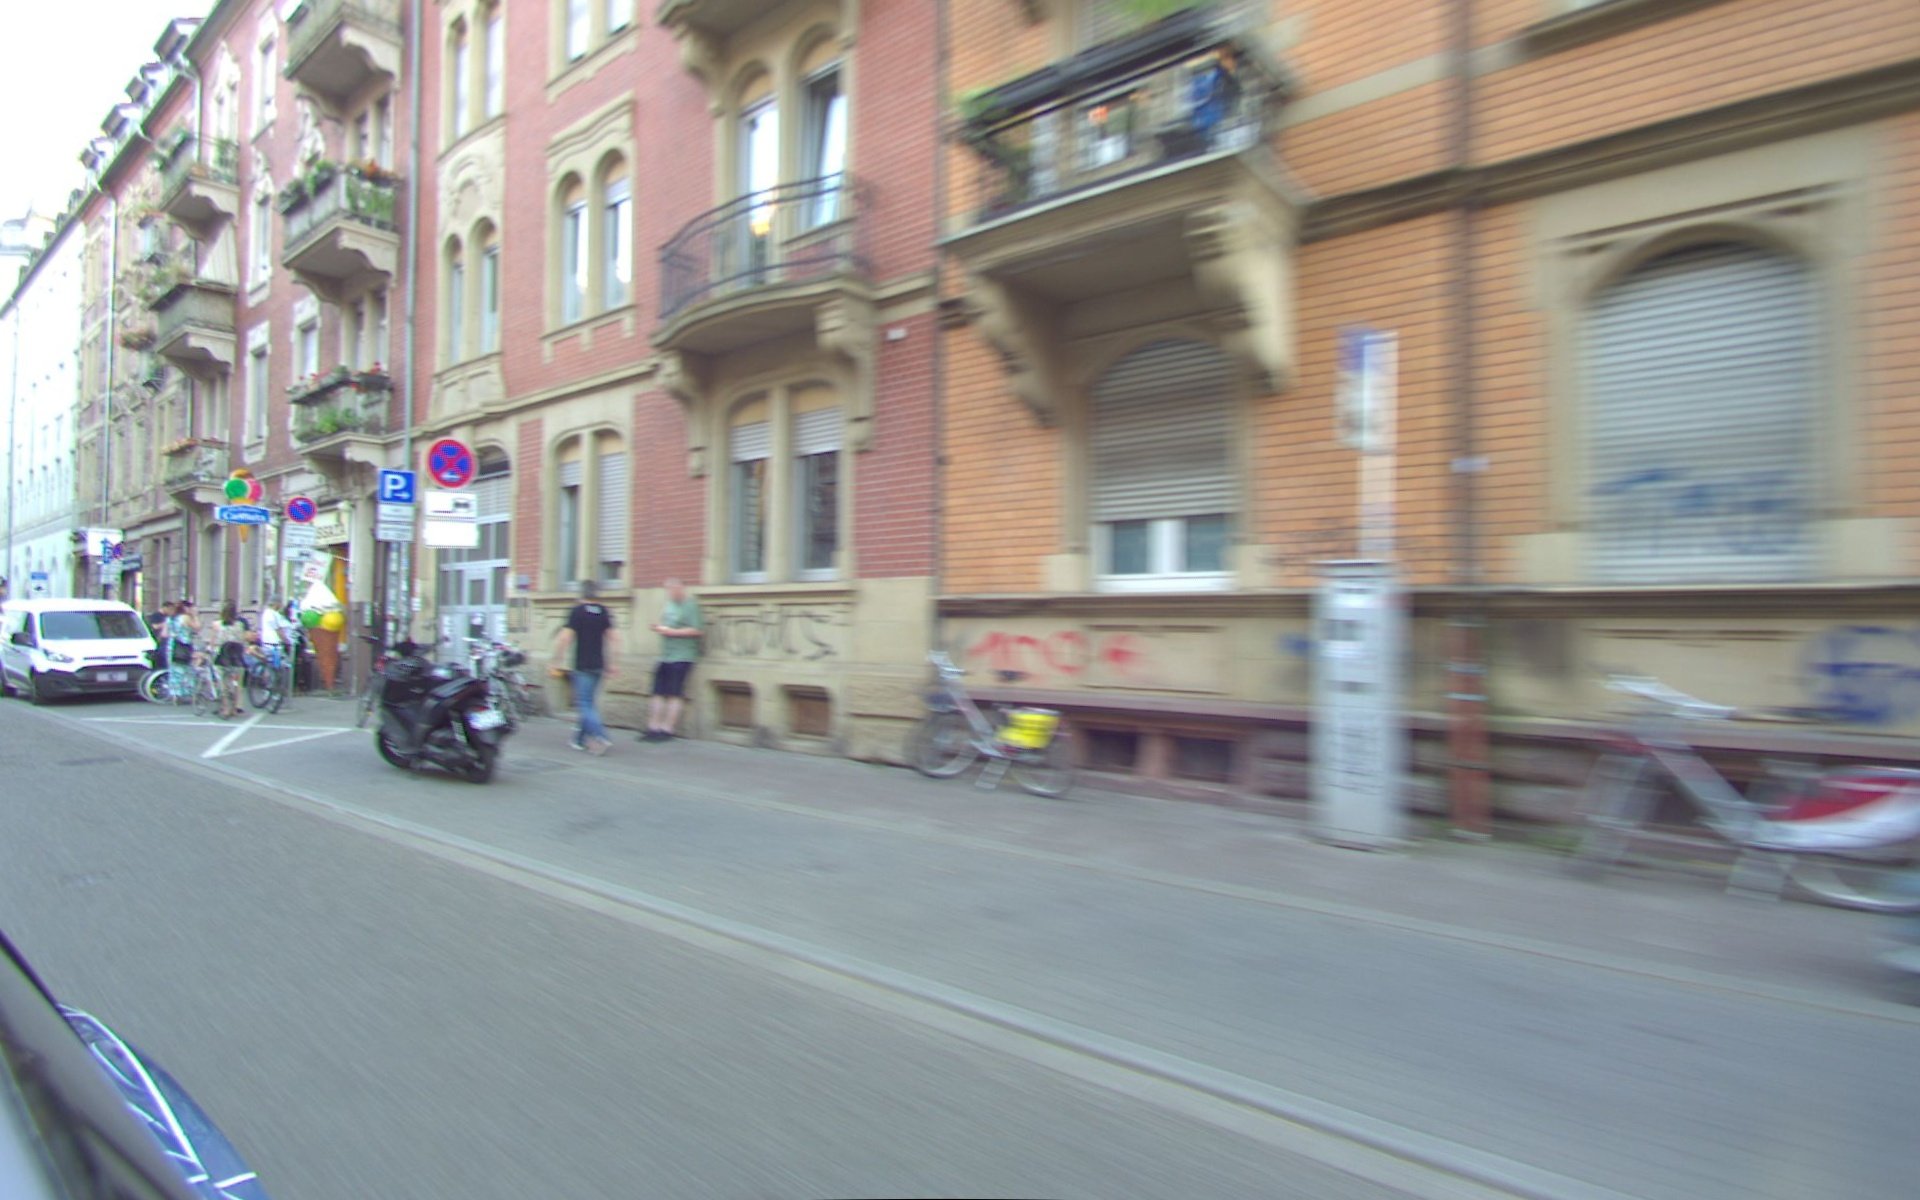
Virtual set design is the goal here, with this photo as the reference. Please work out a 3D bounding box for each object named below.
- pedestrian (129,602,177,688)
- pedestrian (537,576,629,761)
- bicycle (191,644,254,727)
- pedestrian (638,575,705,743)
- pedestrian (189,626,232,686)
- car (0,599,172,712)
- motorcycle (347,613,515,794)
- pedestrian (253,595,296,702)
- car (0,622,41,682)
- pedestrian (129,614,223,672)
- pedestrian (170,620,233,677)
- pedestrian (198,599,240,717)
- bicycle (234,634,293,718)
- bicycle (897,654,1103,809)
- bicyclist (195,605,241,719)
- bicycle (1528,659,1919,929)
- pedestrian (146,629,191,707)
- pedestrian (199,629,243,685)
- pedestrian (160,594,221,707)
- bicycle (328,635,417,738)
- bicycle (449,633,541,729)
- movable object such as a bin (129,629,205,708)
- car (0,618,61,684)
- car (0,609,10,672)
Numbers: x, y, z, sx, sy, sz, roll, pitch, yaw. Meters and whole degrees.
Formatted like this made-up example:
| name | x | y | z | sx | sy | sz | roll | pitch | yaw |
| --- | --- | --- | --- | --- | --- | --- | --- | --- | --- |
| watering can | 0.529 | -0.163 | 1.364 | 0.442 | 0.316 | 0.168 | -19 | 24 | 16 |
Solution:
| name | x | y | z | sx | sy | sz | roll | pitch | yaw |
| --- | --- | --- | --- | --- | --- | --- | --- | --- | --- |
| pedestrian | -16.523 | 0.906 | 20.734 | 0.610 | 1.743 | 0.587 | 0 | -1 | -22 |
| pedestrian | -3.939 | 0.677 | 10.557 | 0.673 | 1.824 | 0.964 | 0 | -1 | -36 |
| bicycle | -10.552 | 1.191 | 14.469 | 1.520 | 1.076 | 0.460 | -1 | -1 | 43 |
| pedestrian | -3.223 | 0.638 | 11.284 | 0.642 | 1.803 | 0.458 | -1 | -1 | 43 |
| pedestrian | -16.252 | 1.200 | 21.944 | 0.584 | 1.261 | 0.613 | -1 | -1 | 38 |
| car | -15.996 | 0.913 | 18.282 | 4.581 | 1.802 | 1.753 | -1 | -1 | 38 |
| motorcycle | -4.693 | 0.830 | 8.904 | 2.014 | 1.415 | 0.677 | -1 | -1 | 43 |
| pedestrian | -11.925 | 0.824 | 17.617 | 0.589 | 1.828 | 0.722 | 0 | -1 | -32 |
| car | -27.042 | 1.408 | 28.041 | 3.968 | 1.608 | 1.907 | -1 | -2 | 42 |
| pedestrian | -17.352 | 0.930 | 22.429 | 0.641 | 1.212 | 1.547 | -1 | -1 | 38 |
| pedestrian | -16.706 | 1.061 | 22.303 | 0.503 | 1.212 | 1.029 | -1 | -1 | 38 |
| pedestrian | -10.970 | 0.847 | 14.987 | 0.350 | 1.722 | 0.414 | -1 | -1 | 35 |
| bicycle | -10.653 | 1.124 | 15.459 | 0.460 | 1.164 | 2.002 | 0 | -1 | -43 |
| bicycle | 0.274 | 0.983 | 7.986 | 1.740 | 1.038 | 0.443 | -1 | -1 | 41 |
| bicyclist | -10.721 | 0.875 | 14.623 | 0.487 | 1.602 | 0.460 | -1 | -1 | 43 |
| bicycle | 3.997 | 0.888 | 5.013 | 2.020 | 1.109 | 0.743 | 0 | -1 | 34 |
| pedestrian | -13.391 | 1.135 | 17.122 | 0.652 | 1.260 | 0.473 | -1 | -1 | 40 |
| pedestrian | -15.586 | 1.191 | 21.354 | 0.572 | 1.148 | 0.625 | -1 | -1 | 38 |
| pedestrian | -12.763 | 0.823 | 16.789 | 0.718 | 1.828 | 0.593 | -1 | -1 | 31 |
| bicycle | -7.395 | 1.048 | 12.701 | 1.837 | 1.168 | 0.407 | -1 | -1 | 41 |
| bicycle | -6.238 | 1.049 | 13.542 | 1.837 | 1.168 | 0.407 | -1 | -1 | 41 |
| movable object such as a bin | -13.380 | 1.135 | 17.086 | 0.776 | 1.260 | 0.878 | -1 | -1 | 40 |
| car | -23.608 | 1.221 | 24.982 | 3.791 | 1.541 | 1.687 | -1 | -2 | 42 |
| car | -31.169 | 1.249 | 31.333 | 4.900 | 1.897 | 1.908 | -1 | -2 | 39 |
